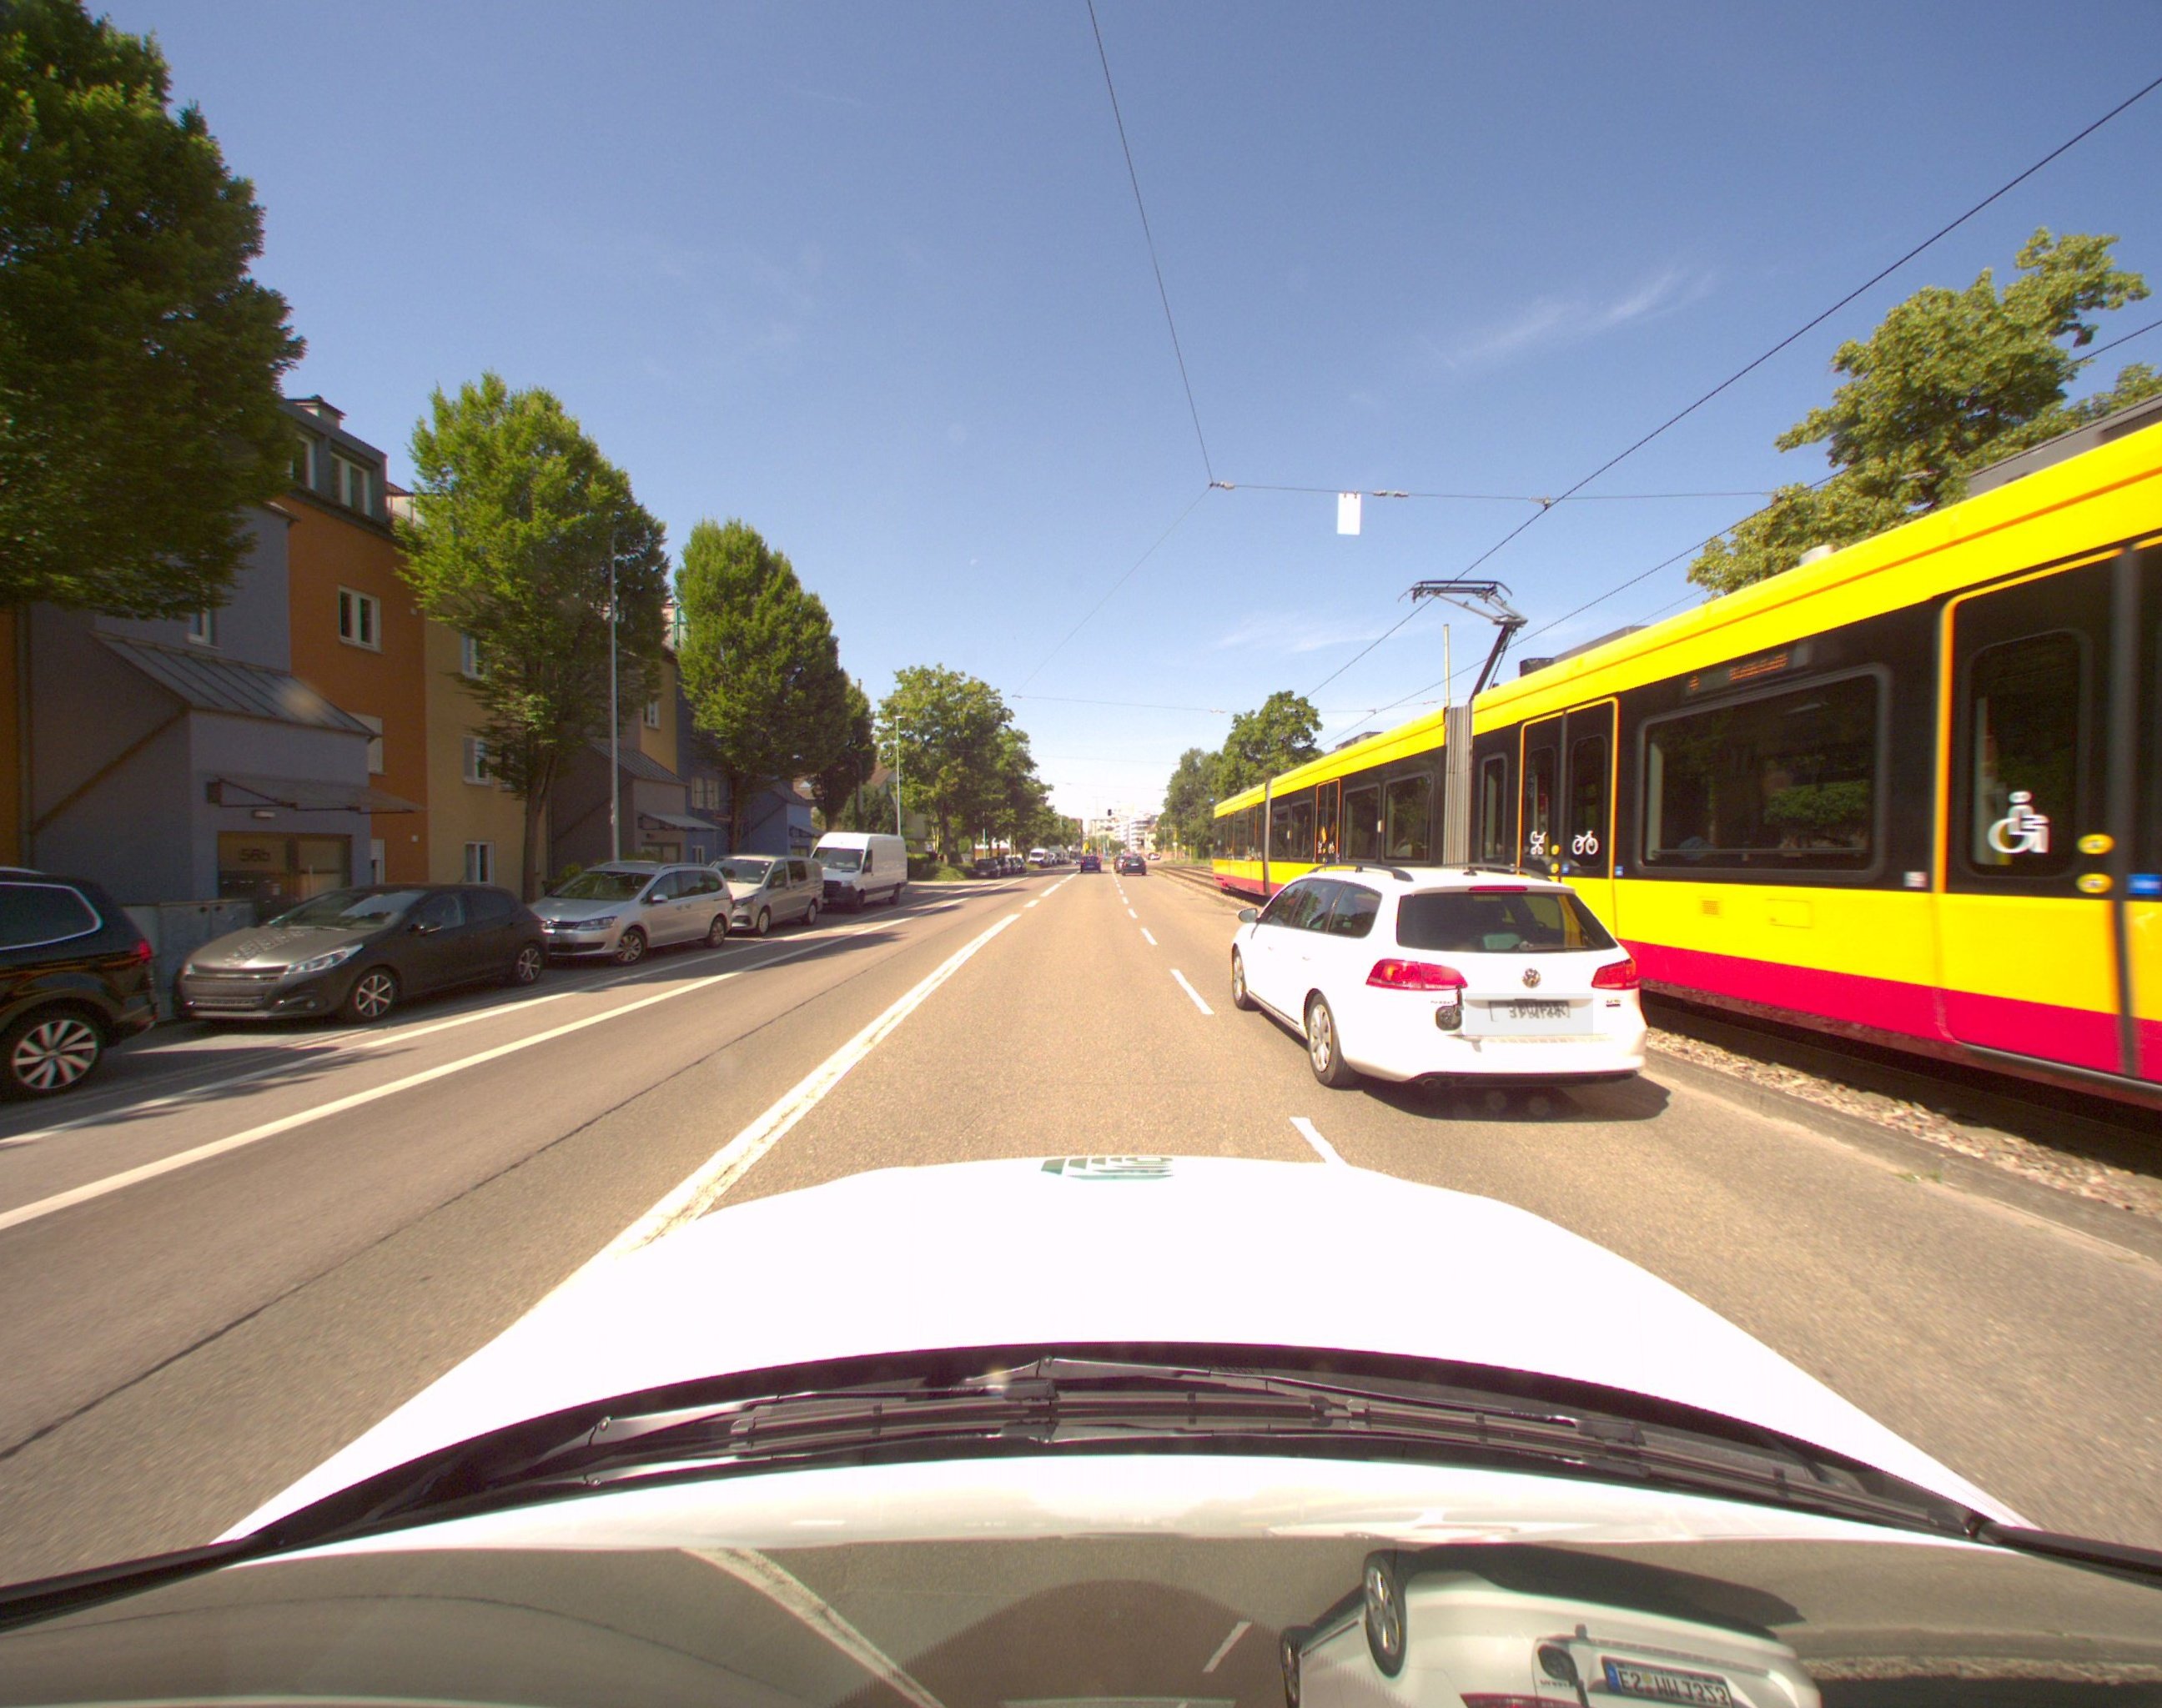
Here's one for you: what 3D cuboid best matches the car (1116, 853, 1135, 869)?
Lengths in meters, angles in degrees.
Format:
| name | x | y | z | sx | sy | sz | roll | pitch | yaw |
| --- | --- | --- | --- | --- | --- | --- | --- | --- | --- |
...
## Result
| name | x | y | z | sx | sy | sz | roll | pitch | yaw |
| --- | --- | --- | --- | --- | --- | --- | --- | --- | --- |
| car | 4.427 | 0.663 | 81.181 | 1.794 | 1.460 | 4.001 | -1 | 0 | 1 |

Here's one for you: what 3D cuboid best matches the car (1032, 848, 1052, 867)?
| name | x | y | z | sx | sy | sz | roll | pitch | yaw |
| --- | --- | --- | --- | --- | --- | --- | --- | --- | --- |
| car | -5.035 | 0.410 | 106.950 | 1.871 | 2.415 | 5.123 | -1 | 0 | 5 |

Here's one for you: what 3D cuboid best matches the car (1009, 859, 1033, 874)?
| name | x | y | z | sx | sy | sz | roll | pitch | yaw |
| --- | --- | --- | --- | --- | --- | --- | --- | --- | --- |
| car | -5.716 | 1.138 | 77.947 | 1.691 | 1.352 | 4.006 | -1 | 0 | 5 |

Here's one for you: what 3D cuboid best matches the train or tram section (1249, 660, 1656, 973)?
| name | x | y | z | sx | sy | sz | roll | pitch | yaw |
| --- | --- | --- | --- | --- | --- | --- | --- | --- | --- |
| train or tram section | 5.879 | -0.460 | 16.554 | 2.502 | 3.747 | 13.315 | -1 | 0 | 2 |

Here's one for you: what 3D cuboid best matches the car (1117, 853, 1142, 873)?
| name | x | y | z | sx | sy | sz | roll | pitch | yaw |
| --- | --- | --- | --- | --- | --- | --- | --- | --- | --- |
| car | 3.858 | 0.684 | 64.951 | 1.794 | 1.460 | 4.001 | 0 | 0 | 1 |

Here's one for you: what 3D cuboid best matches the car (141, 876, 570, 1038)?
| name | x | y | z | sx | sy | sz | roll | pitch | yaw |
| --- | --- | --- | --- | --- | --- | --- | --- | --- | --- |
| car | -8.479 | 1.079 | 10.128 | 1.685 | 1.474 | 4.047 | 2 | 0 | -1 |

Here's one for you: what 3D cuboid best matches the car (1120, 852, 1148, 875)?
| name | x | y | z | sx | sy | sz | roll | pitch | yaw |
| --- | --- | --- | --- | --- | --- | --- | --- | --- | --- |
| car | 3.744 | 0.641 | 57.659 | 1.794 | 1.507 | 4.001 | 0 | 0 | 1 |

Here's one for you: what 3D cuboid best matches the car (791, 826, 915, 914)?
| name | x | y | z | sx | sy | sz | roll | pitch | yaw |
| --- | --- | --- | --- | --- | --- | --- | --- | --- | --- |
| car | -7.882 | 0.516 | 29.101 | 1.986 | 2.714 | 7.161 | 2 | 0 | 3 |

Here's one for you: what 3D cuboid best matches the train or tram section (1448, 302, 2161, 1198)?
| name | x | y | z | sx | sy | sz | roll | pitch | yaw |
| --- | --- | --- | --- | --- | --- | --- | --- | --- | --- |
| train or tram section | 5.784 | -0.447 | 3.398 | 2.503 | 3.747 | 13.309 | -1 | 0 | 0 |

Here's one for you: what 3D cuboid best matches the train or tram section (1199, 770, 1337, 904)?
| name | x | y | z | sx | sy | sz | roll | pitch | yaw |
| --- | --- | --- | --- | --- | --- | --- | --- | --- | --- |
| train or tram section | 6.285 | -0.486 | 29.855 | 2.501 | 3.747 | 13.318 | -1 | 0 | 2 |

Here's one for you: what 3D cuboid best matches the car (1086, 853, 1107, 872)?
| name | x | y | z | sx | sy | sz | roll | pitch | yaw |
| --- | --- | --- | --- | --- | --- | --- | --- | --- | --- |
| car | 1.314 | 0.699 | 68.916 | 1.794 | 1.507 | 4.001 | 0 | 1 | 1 |

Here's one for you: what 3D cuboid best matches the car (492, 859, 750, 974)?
| name | x | y | z | sx | sy | sz | roll | pitch | yaw |
| --- | --- | --- | --- | --- | --- | --- | --- | --- | --- |
| car | -8.198 | 0.988 | 15.202 | 1.793 | 1.724 | 4.912 | 2 | 0 | 2 |

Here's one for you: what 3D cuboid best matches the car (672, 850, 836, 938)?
| name | x | y | z | sx | sy | sz | roll | pitch | yaw |
| --- | --- | --- | --- | --- | --- | --- | --- | --- | --- |
| car | -8.208 | 0.909 | 21.112 | 1.912 | 1.948 | 5.356 | 2 | 0 | 1 |

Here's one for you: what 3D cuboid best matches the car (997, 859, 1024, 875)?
| name | x | y | z | sx | sy | sz | roll | pitch | yaw |
| --- | --- | --- | --- | --- | --- | --- | --- | --- | --- |
| car | -6.251 | 1.135 | 72.713 | 1.691 | 1.352 | 4.006 | -1 | 0 | 5 |

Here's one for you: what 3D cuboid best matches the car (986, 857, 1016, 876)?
| name | x | y | z | sx | sy | sz | roll | pitch | yaw |
| --- | --- | --- | --- | --- | --- | --- | --- | --- | --- |
| car | -6.604 | 1.016 | 67.307 | 1.691 | 1.482 | 4.006 | -1 | 0 | 5 |

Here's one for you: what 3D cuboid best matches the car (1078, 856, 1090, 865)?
| name | x | y | z | sx | sy | sz | roll | pitch | yaw |
| --- | --- | --- | --- | --- | --- | --- | --- | --- | --- |
| car | 0.536 | 1.029 | 130.963 | 1.692 | 1.273 | 4.004 | -1 | 0 | 4 |

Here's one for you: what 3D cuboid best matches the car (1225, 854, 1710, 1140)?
| name | x | y | z | sx | sy | sz | roll | pitch | yaw |
| --- | --- | --- | --- | --- | --- | --- | --- | --- | --- |
| car | 2.426 | 0.747 | 6.498 | 1.686 | 1.451 | 4.456 | -1 | 0 | -1 |

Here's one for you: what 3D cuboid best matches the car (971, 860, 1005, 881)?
| name | x | y | z | sx | sy | sz | roll | pitch | yaw |
| --- | --- | --- | --- | --- | --- | --- | --- | --- | --- |
| car | -6.799 | 1.160 | 59.823 | 1.691 | 1.417 | 4.006 | -1 | 0 | 5 |

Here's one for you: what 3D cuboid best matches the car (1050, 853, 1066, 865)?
| name | x | y | z | sx | sy | sz | roll | pitch | yaw |
| --- | --- | --- | --- | --- | --- | --- | --- | --- | --- |
| car | -3.589 | 0.781 | 127.282 | 1.817 | 1.867 | 4.731 | -1 | 0 | 5 |

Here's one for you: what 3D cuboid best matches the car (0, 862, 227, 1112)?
| name | x | y | z | sx | sy | sz | roll | pitch | yaw |
| --- | --- | --- | --- | --- | --- | --- | --- | --- | --- |
| car | -8.430 | 0.945 | 4.814 | 1.765 | 1.723 | 4.864 | 1 | 0 | -3 |
